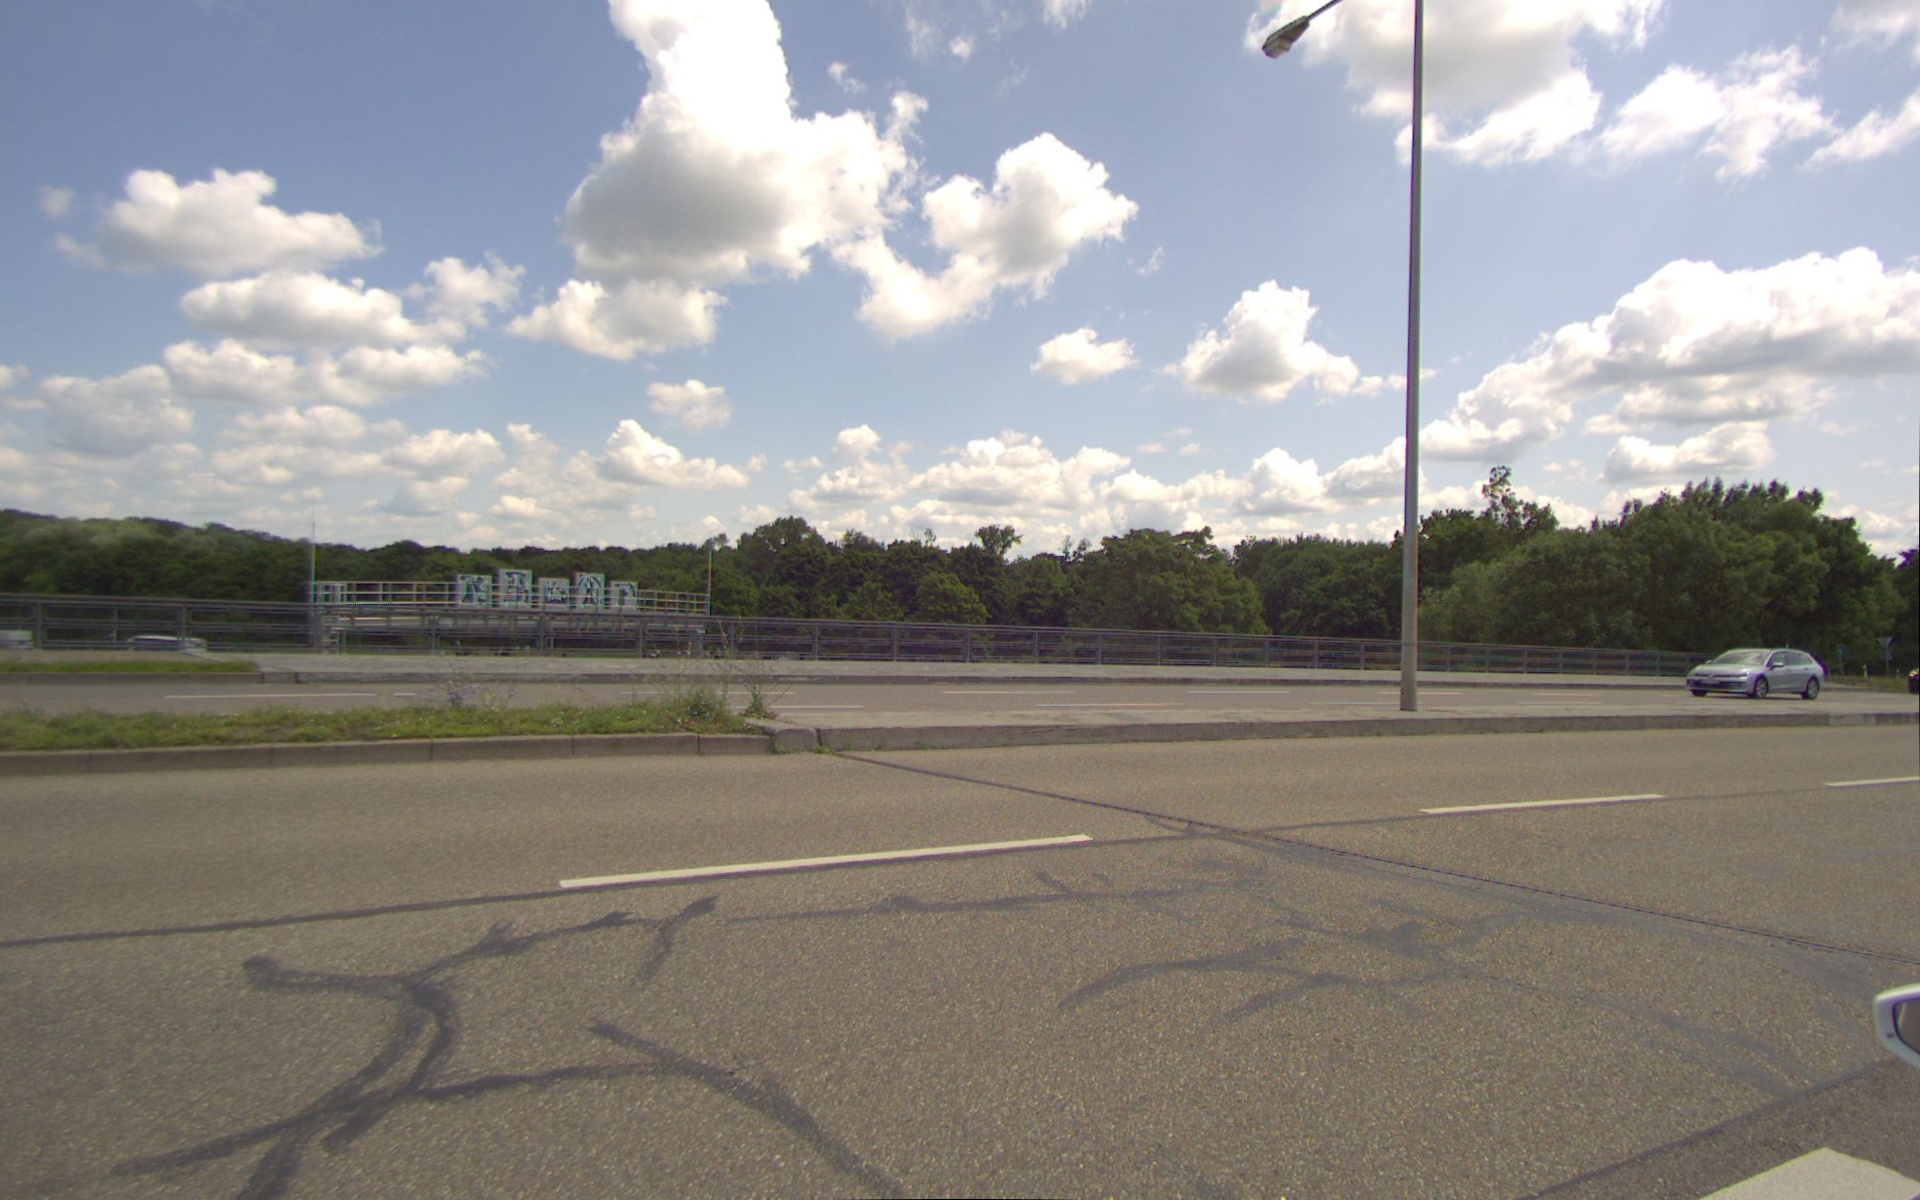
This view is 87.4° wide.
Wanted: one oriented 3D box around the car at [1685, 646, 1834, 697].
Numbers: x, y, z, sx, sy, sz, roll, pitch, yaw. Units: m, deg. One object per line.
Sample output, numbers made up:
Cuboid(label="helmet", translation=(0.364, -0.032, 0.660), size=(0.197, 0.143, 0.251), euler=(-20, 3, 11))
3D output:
Cuboid(label="car", translation=(23.717, 2.089, 29.788), size=(4.488, 1.431, 1.659), euler=(2, -3, -25))

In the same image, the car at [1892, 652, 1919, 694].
Cuboid(label="car", translation=(40.807, 3.044, 41.480), size=(4.494, 1.648, 2.079), euler=(2, 1, -29))
